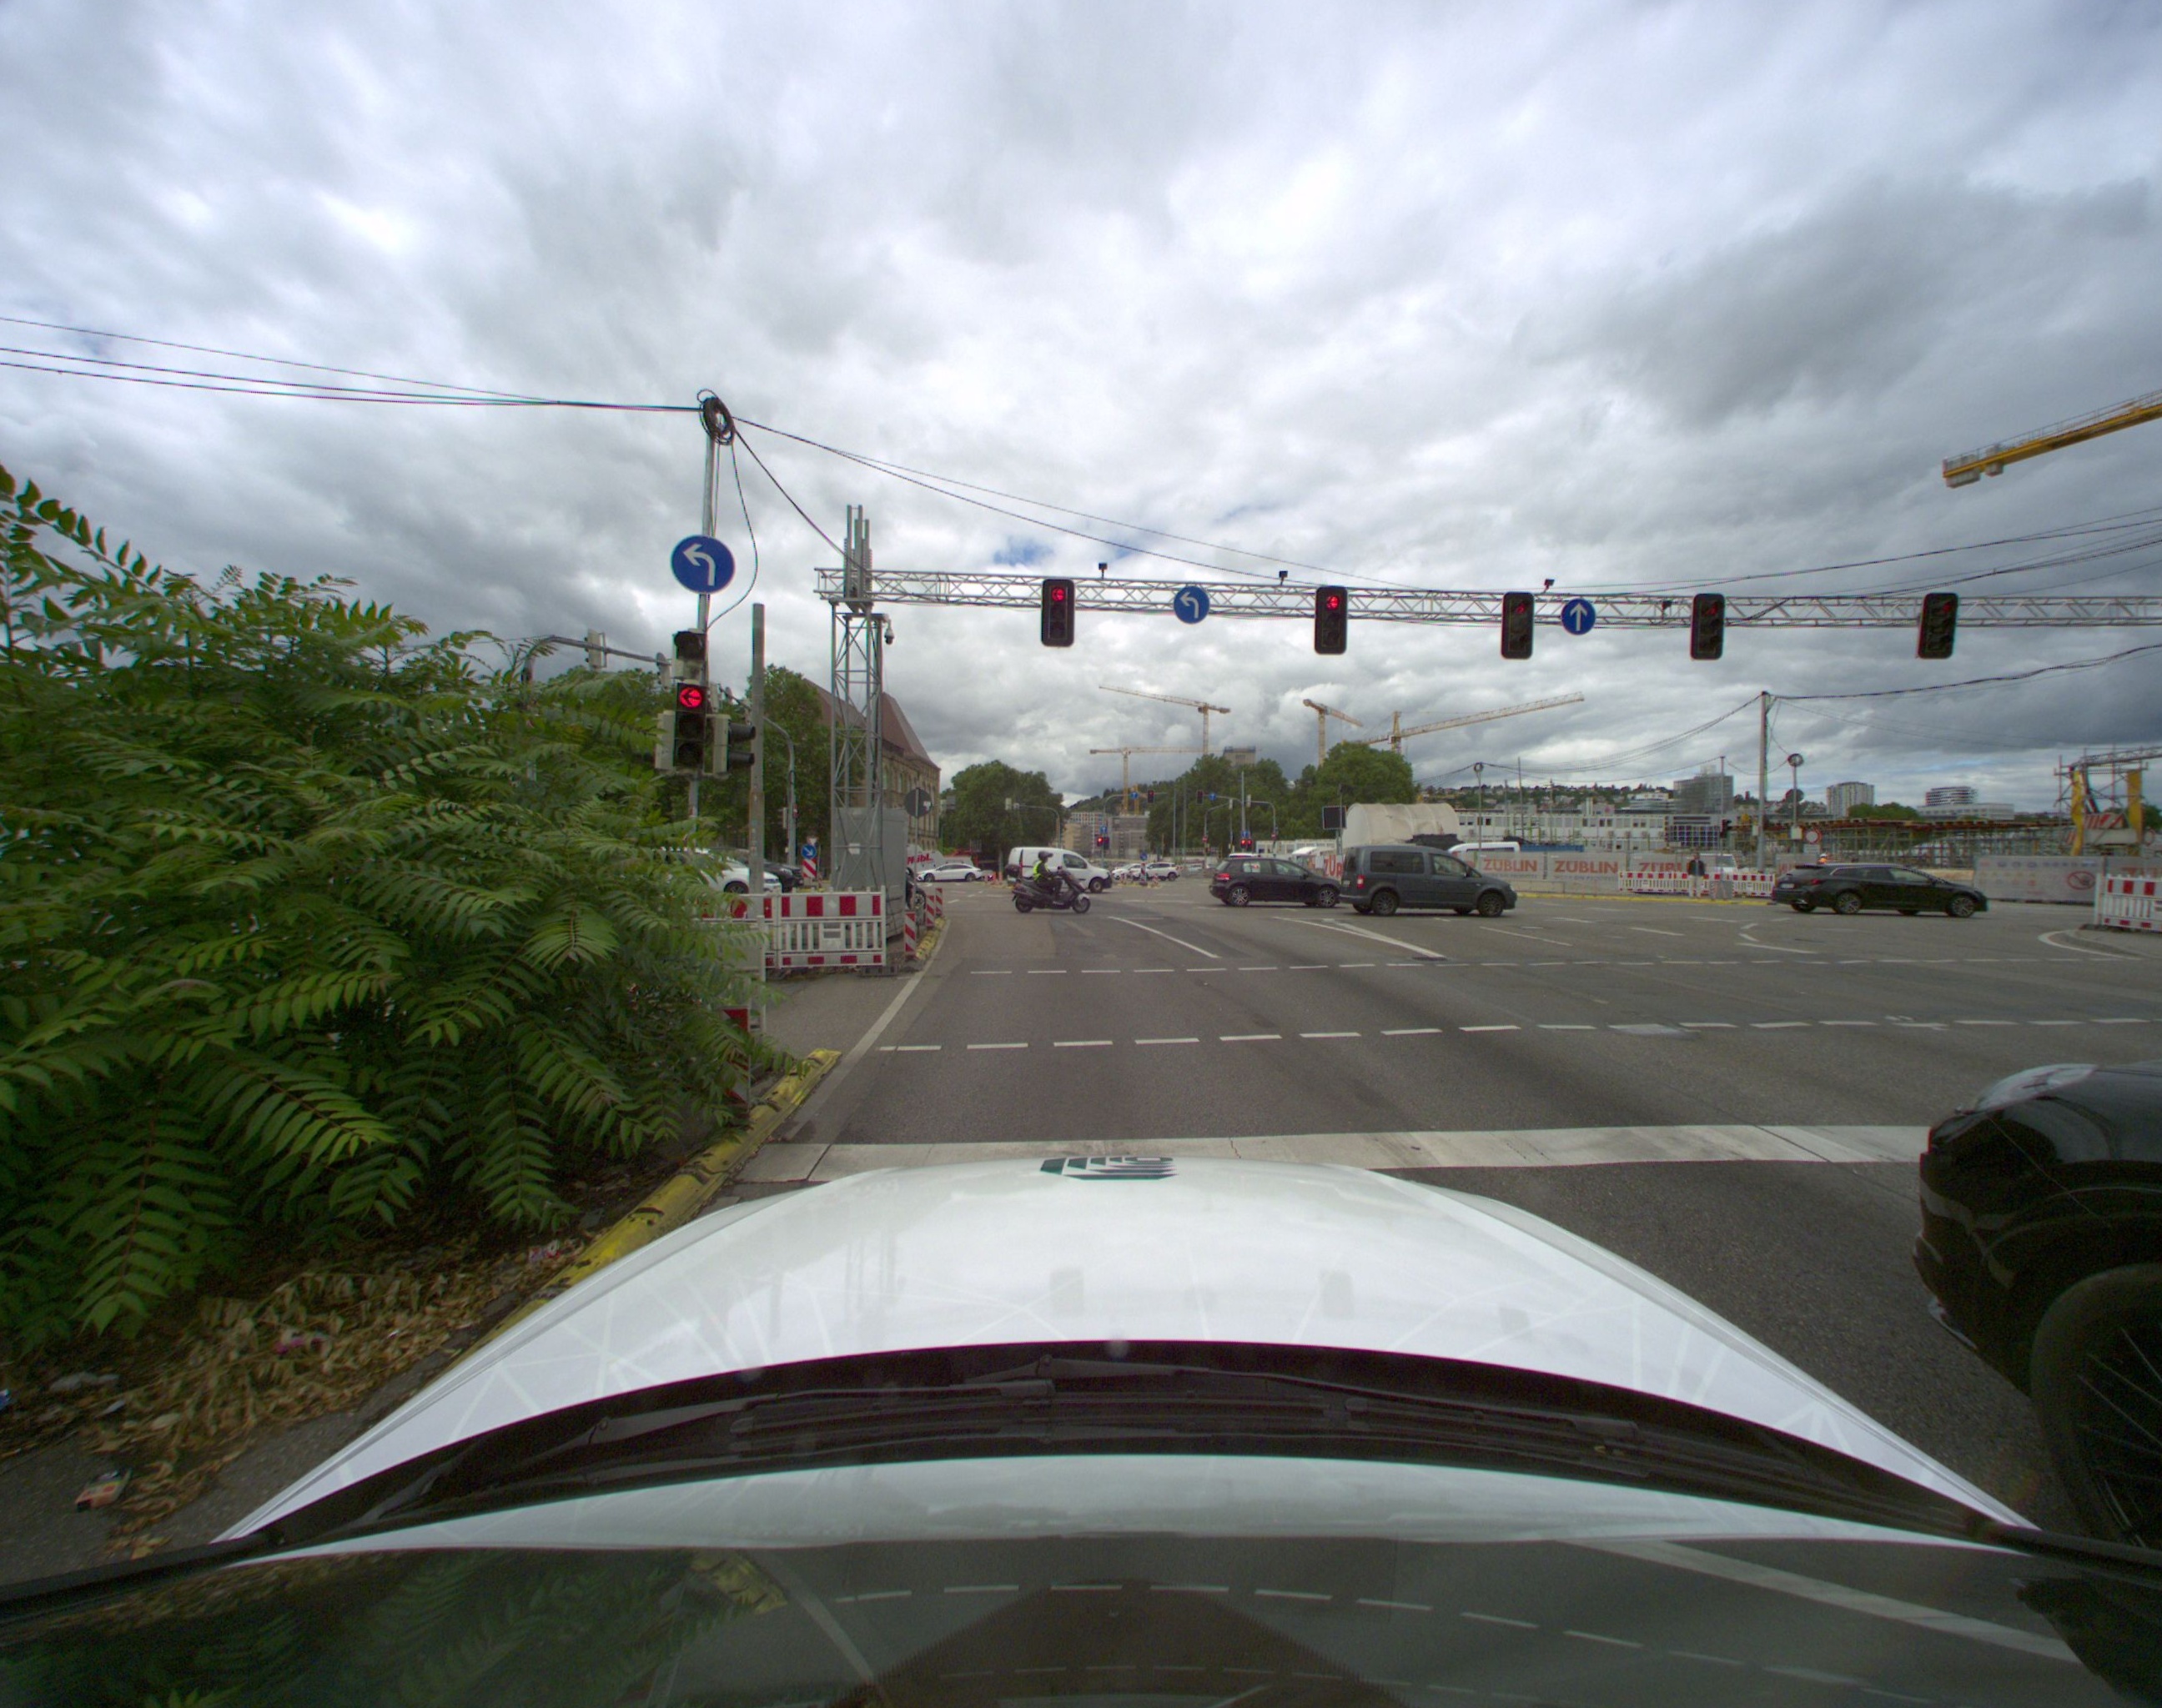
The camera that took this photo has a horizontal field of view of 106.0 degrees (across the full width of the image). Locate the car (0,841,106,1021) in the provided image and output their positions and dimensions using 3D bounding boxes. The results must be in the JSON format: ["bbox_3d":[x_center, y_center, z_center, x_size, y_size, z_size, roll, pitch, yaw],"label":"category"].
[{"bbox_3d":[-10.340,0.691,6.030,1.884,1.626,4.346,0,-1,-17],"label":"car"}]

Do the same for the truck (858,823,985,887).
[{"bbox_3d":[-12.902,0.068,65.984,9.750,4.961,3.092,0,-1,-21],"label":"truck"}]

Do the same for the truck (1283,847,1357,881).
[{"bbox_3d":[22.458,0.895,76.510,6.607,3.146,2.350,0,-1,-22],"label":"truck"}]

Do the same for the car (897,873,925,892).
[{"bbox_3d":[-17.038,2.842,81.723,1.987,1.838,3.998,0,-1,-1],"label":"car"}]

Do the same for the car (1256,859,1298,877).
[{"bbox_3d":[21.071,1.481,87.550,2.011,1.838,3.951,0,-1,-43],"label":"car"}]

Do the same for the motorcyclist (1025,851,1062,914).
[{"bbox_3d":[-0.954,0.710,20.852,0.875,1.571,0.818,0,-1,2],"label":"motorcyclist"}]

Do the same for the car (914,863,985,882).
[{"bbox_3d":[-10.241,1.422,63.403,5.153,1.419,2.221,0,-1,-22],"label":"car"}]

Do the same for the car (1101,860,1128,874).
[{"bbox_3d":[4.554,1.783,109.760,2.004,1.838,3.966,0,-1,-26],"label":"car"}]

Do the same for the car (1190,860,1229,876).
[{"bbox_3d":[14.406,1.561,91.241,2.011,1.838,3.951,0,-1,-43],"label":"car"}]

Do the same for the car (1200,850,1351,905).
[{"bbox_3d":[5.808,0.686,24.675,4.096,1.547,1.998,0,-1,-2],"label":"car"}]

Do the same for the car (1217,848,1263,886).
[{"bbox_3d":[8.023,0.639,40.799,1.979,1.759,4.522,-1,-1,14],"label":"car"}]

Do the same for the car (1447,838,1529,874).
[{"bbox_3d":[23.476,0.122,47.107,3.955,2.014,2.009,-1,-1,17],"label":"car"}]

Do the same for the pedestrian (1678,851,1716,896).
[{"bbox_3d":[25.721,0.827,33.997,1.035,1.848,0.794,-1,-1,17],"label":"pedestrian"}]

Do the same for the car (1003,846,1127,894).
[{"bbox_3d":[-0.650,0.622,33.021,4.725,1.833,1.856,0,-1,-22],"label":"car"}]

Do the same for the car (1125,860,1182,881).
[{"bbox_3d":[6.315,1.430,70.655,4.602,1.724,1.895,0,-1,-22],"label":"car"}]

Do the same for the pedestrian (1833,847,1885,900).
[{"bbox_3d":[30.367,0.747,31.796,1.044,2.014,1.030,0,-1,-13],"label":"pedestrian"}]

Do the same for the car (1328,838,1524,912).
[{"bbox_3d":[8.840,0.532,21.134,4.254,1.805,2.000,0,-1,1],"label":"car"}]

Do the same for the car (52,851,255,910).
[{"bbox_3d":[-28.763,0.801,25.369,3.975,1.740,1.909,1,-1,-1],"label":"car"}]

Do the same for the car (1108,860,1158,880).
[{"bbox_3d":[4.686,1.466,73.540,4.164,1.724,1.895,0,-1,-22],"label":"car"}]

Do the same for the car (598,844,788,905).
[{"bbox_3d":[-11.362,0.593,24.103,4.656,1.702,1.999,0,-1,-1],"label":"car"}]

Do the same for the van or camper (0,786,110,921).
[{"bbox_3d":[-23.846,0.012,16.480,6.038,2.610,2.162,0,0,3],"label":"van or camper"}]

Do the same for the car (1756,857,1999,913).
[{"bbox_3d":[21.976,0.833,22.697,4.458,1.466,2.007,-1,-1,13],"label":"car"}]

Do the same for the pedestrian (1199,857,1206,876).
[{"bbox_3d":[12.200,1.262,81.620,0.583,1.840,0.604,0,-1,-2],"label":"pedestrian"}]

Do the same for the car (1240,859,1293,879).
[{"bbox_3d":[17.782,1.438,78.049,4.585,1.774,1.985,1,1,-23],"label":"car"}]

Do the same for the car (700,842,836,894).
[{"bbox_3d":[-11.487,0.516,30.104,4.231,1.834,1.999,0,-1,-1],"label":"car"}]

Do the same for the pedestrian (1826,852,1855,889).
[{"bbox_3d":[39.213,0.839,42.063,0.677,1.916,0.865,0,-1,-4],"label":"pedestrian"}]

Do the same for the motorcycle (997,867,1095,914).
[{"bbox_3d":[-0.872,0.916,20.846,2.413,1.155,0.818,0,-1,2],"label":"motorcycle"}]

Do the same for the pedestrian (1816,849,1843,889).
[{"bbox_3d":[38.295,0.745,41.661,0.673,2.014,0.869,-1,-1,14],"label":"pedestrian"}]

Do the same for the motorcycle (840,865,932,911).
[{"bbox_3d":[-4.957,0.857,20.774,2.159,1.155,0.652,0,-1,2],"label":"motorcycle"}]
